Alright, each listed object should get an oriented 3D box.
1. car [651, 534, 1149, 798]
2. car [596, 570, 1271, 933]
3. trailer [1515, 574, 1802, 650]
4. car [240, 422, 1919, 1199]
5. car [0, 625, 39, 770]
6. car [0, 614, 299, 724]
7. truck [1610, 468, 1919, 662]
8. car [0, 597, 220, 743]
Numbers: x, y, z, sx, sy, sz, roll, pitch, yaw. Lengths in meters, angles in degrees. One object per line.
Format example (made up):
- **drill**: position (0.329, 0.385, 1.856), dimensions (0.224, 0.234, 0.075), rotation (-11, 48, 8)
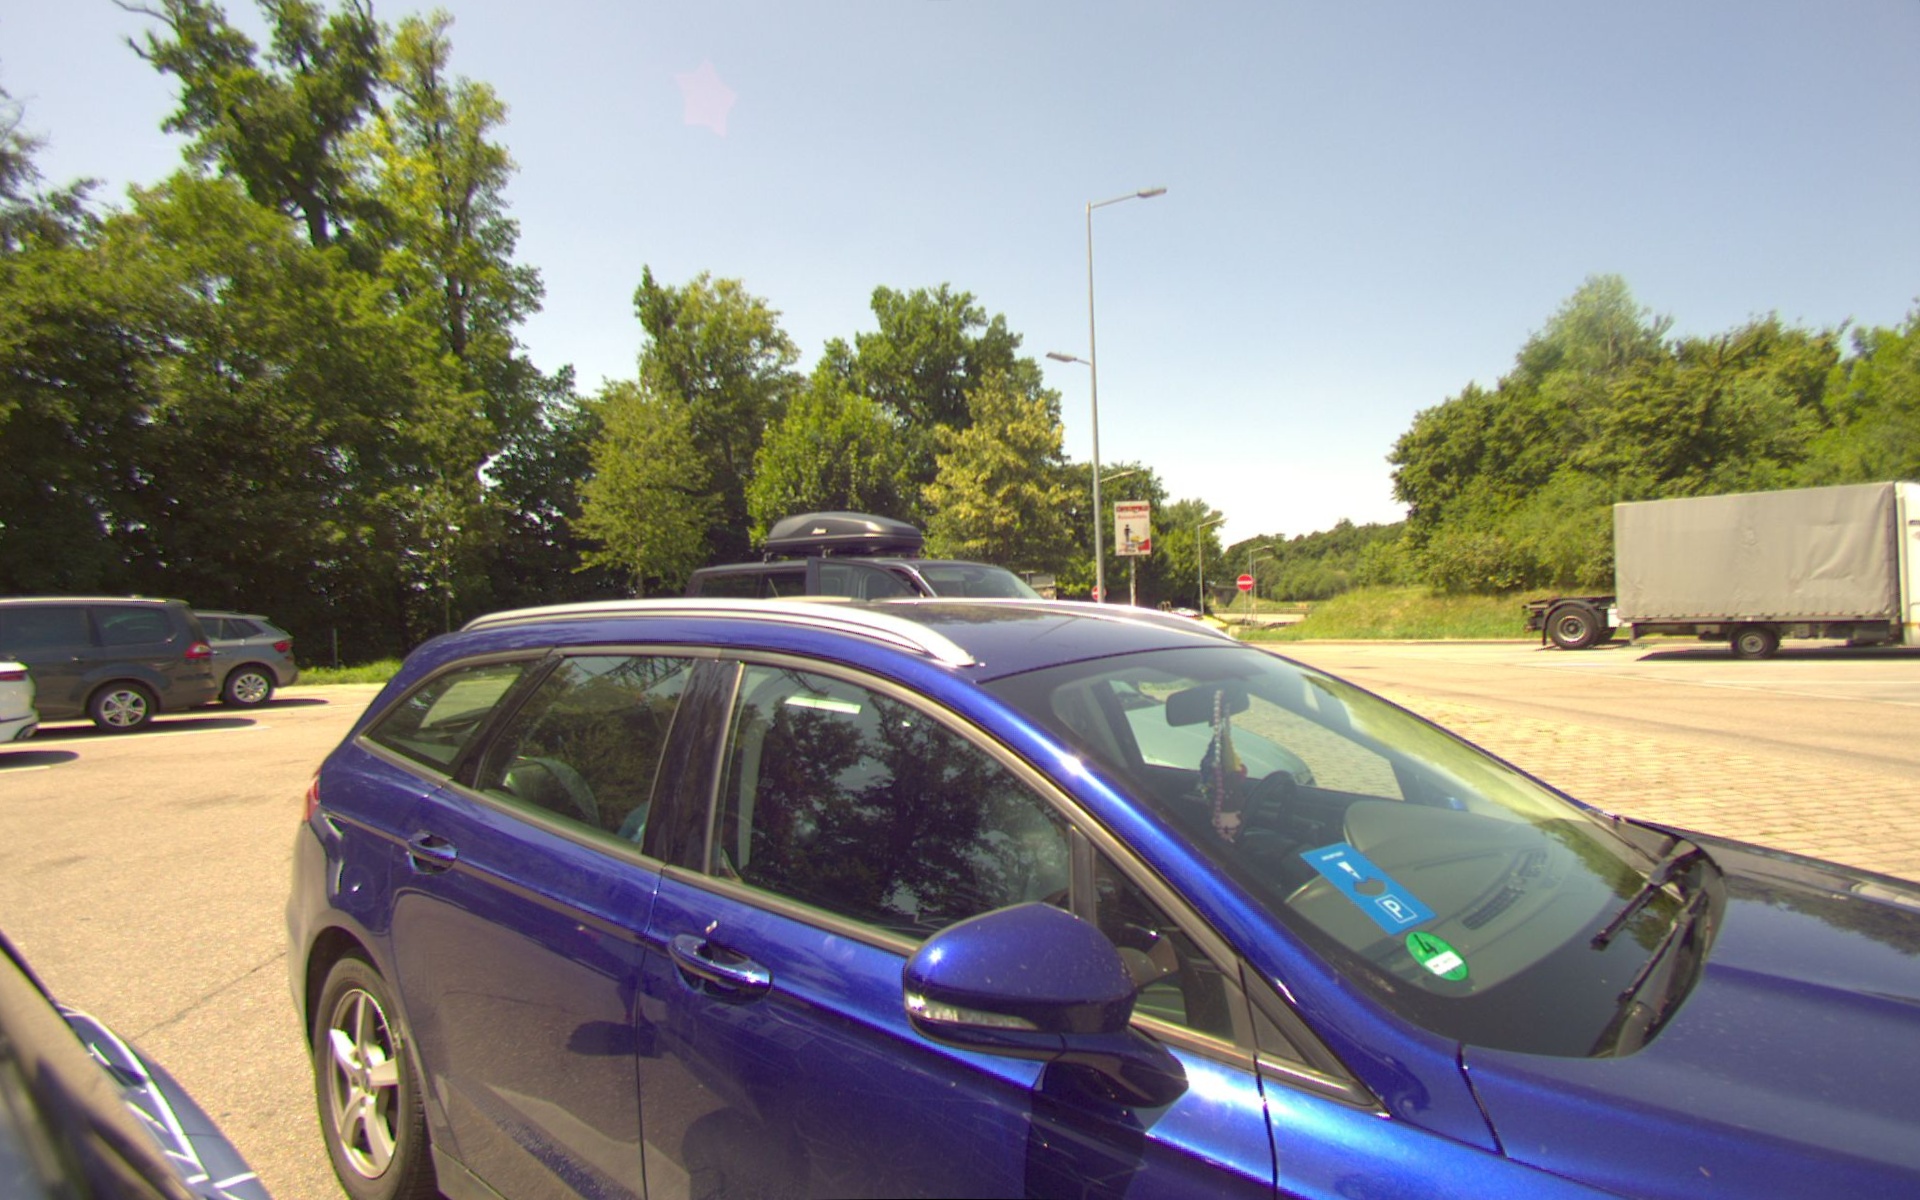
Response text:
- **car**: position (-0.721, 0.533, 9.411), dimensions (4.426, 1.875, 2.022), rotation (-2, -1, 40)
- **car**: position (-0.353, 0.650, 5.800), dimensions (3.739, 1.424, 1.587), rotation (-2, -1, 40)
- **trailer**: position (16.338, 0.343, 23.916), dimensions (5.393, 1.608, 1.576), rotation (-2, -1, 41)
- **car**: position (0.252, 0.651, 2.079), dimensions (4.426, 1.455, 1.763), rotation (-2, -1, 40)
- **car**: position (-10.949, 0.944, 9.191), dimensions (3.753, 1.377, 1.804), rotation (0, -1, -45)
- **car**: position (-12.600, 0.972, 15.618), dimensions (3.753, 1.488, 1.743), rotation (0, -1, -45)
- **truck**: position (16.719, -0.621, 18.843), dimensions (7.308, 3.258, 2.294), rotation (-5, -2, 43)
- **car**: position (-11.703, 0.836, 12.579), dimensions (3.830, 1.703, 1.883), rotation (0, -2, -45)
